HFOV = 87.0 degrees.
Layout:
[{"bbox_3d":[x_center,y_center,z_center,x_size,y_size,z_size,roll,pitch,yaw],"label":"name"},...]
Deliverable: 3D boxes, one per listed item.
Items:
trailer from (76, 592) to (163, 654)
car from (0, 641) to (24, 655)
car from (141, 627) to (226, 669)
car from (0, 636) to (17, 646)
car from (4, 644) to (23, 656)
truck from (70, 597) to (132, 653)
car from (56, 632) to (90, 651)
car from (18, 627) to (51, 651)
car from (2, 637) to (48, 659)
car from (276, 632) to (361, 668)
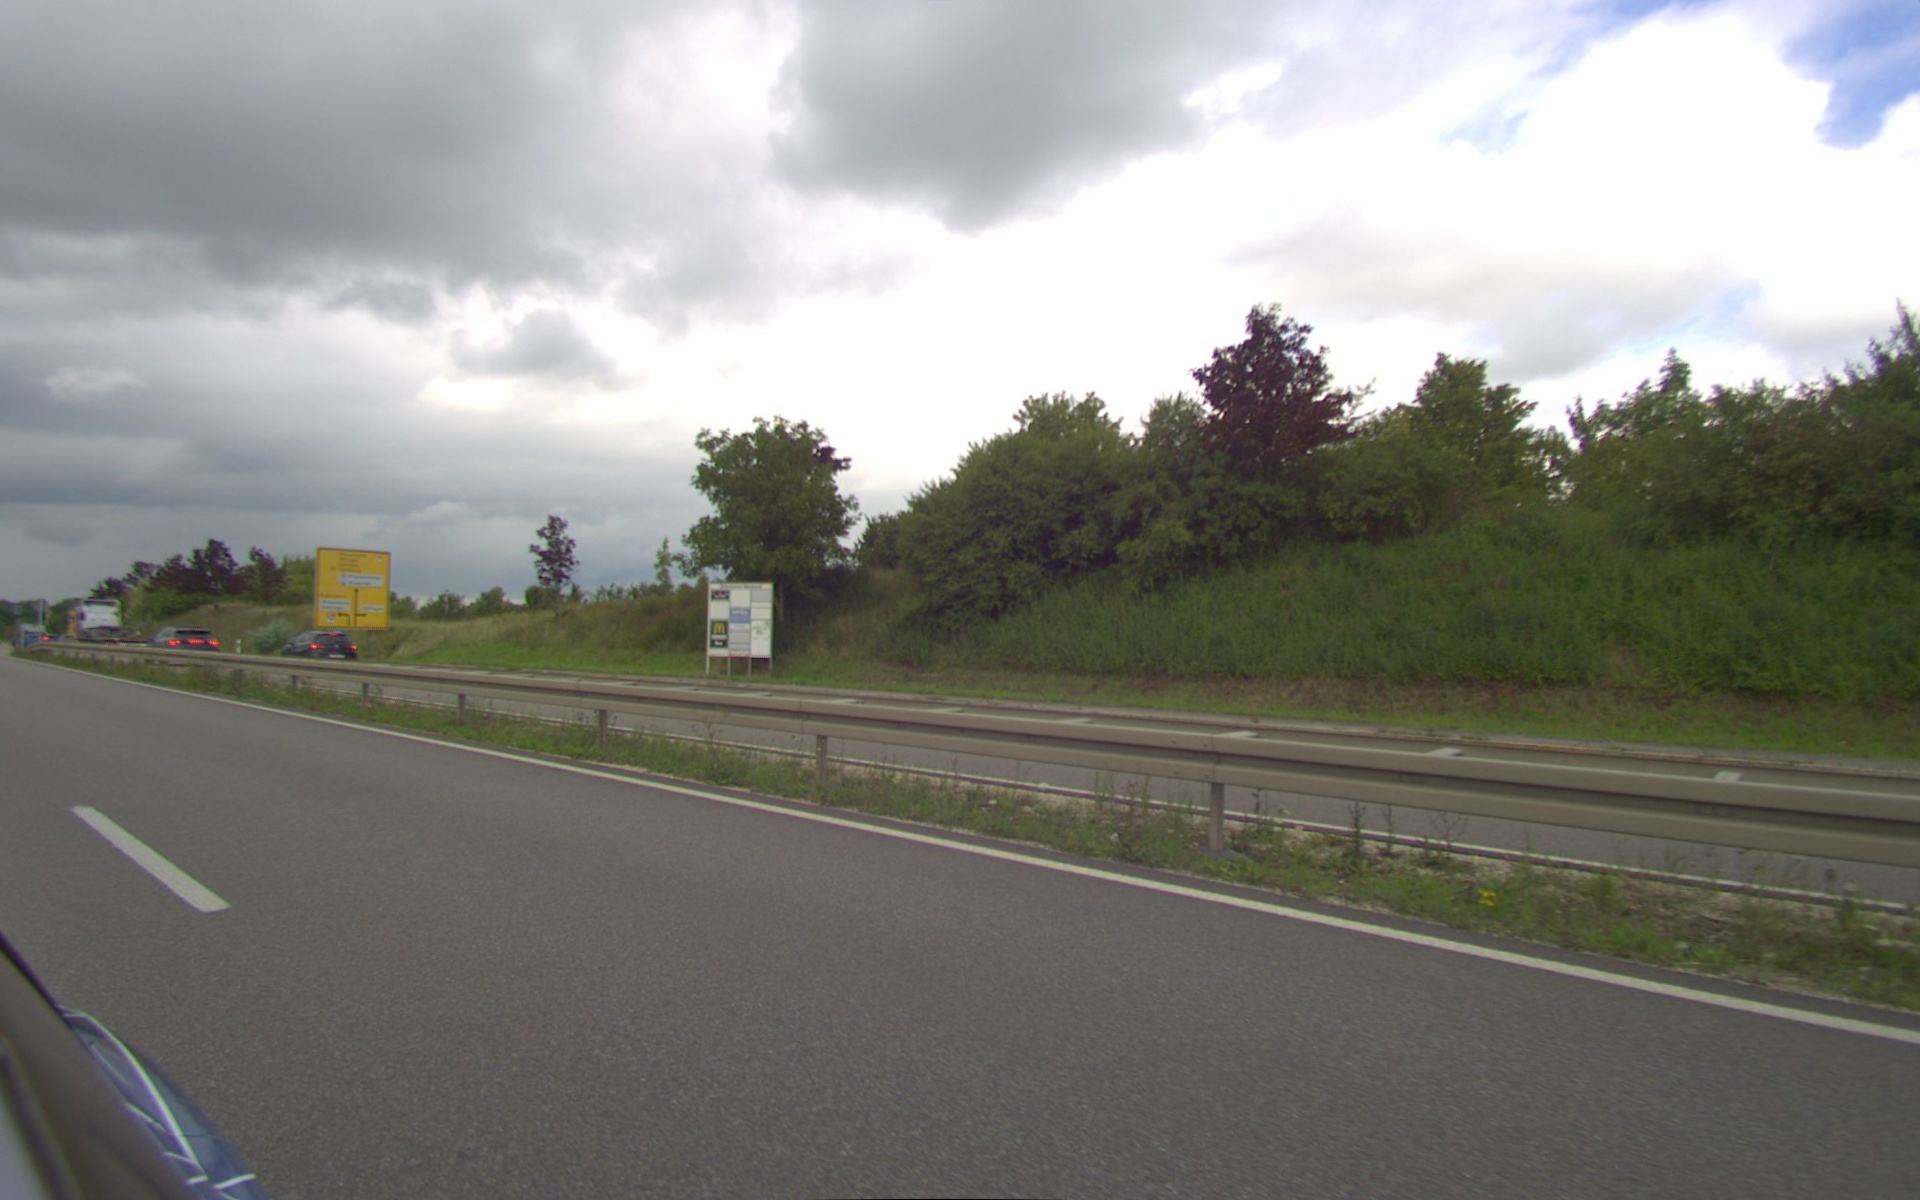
[{"bbox_3d":[-58.890,1.730,70.761,12.981,3.977,2.745,-3,-3,42],"label":"trailer"},{"bbox_3d":[-114.238,5.784,121.925,4.193,1.542,1.714,-3,-5,42],"label":"car"},{"bbox_3d":[-29.371,1.809,38.234,4.575,1.497,1.735,-3,-3,42],"label":"car"},{"bbox_3d":[-156.058,6.791,166.013,4.707,1.523,1.774,-3,-6,44],"label":"car"},{"bbox_3d":[-137.325,7.257,146.786,4.517,1.647,1.774,-3,-6,44],"label":"car"},{"bbox_3d":[-63.787,1.903,75.156,5.285,4.028,2.772,-3,-3,42],"label":"truck"},{"bbox_3d":[-76.659,3.624,87.438,4.192,1.542,1.714,-3,-5,42],"label":"car"},{"bbox_3d":[-101.299,4.272,110.720,5.634,2.458,2.011,-3,-5,42],"label":"car"},{"bbox_3d":[-66.621,3.394,72.071,4.193,1.530,2.063,-3,-3,43],"label":"car"},{"bbox_3d":[-24.984,1.931,39.363,4.416,1.334,1.673,-3,-3,42],"label":"car"}]
